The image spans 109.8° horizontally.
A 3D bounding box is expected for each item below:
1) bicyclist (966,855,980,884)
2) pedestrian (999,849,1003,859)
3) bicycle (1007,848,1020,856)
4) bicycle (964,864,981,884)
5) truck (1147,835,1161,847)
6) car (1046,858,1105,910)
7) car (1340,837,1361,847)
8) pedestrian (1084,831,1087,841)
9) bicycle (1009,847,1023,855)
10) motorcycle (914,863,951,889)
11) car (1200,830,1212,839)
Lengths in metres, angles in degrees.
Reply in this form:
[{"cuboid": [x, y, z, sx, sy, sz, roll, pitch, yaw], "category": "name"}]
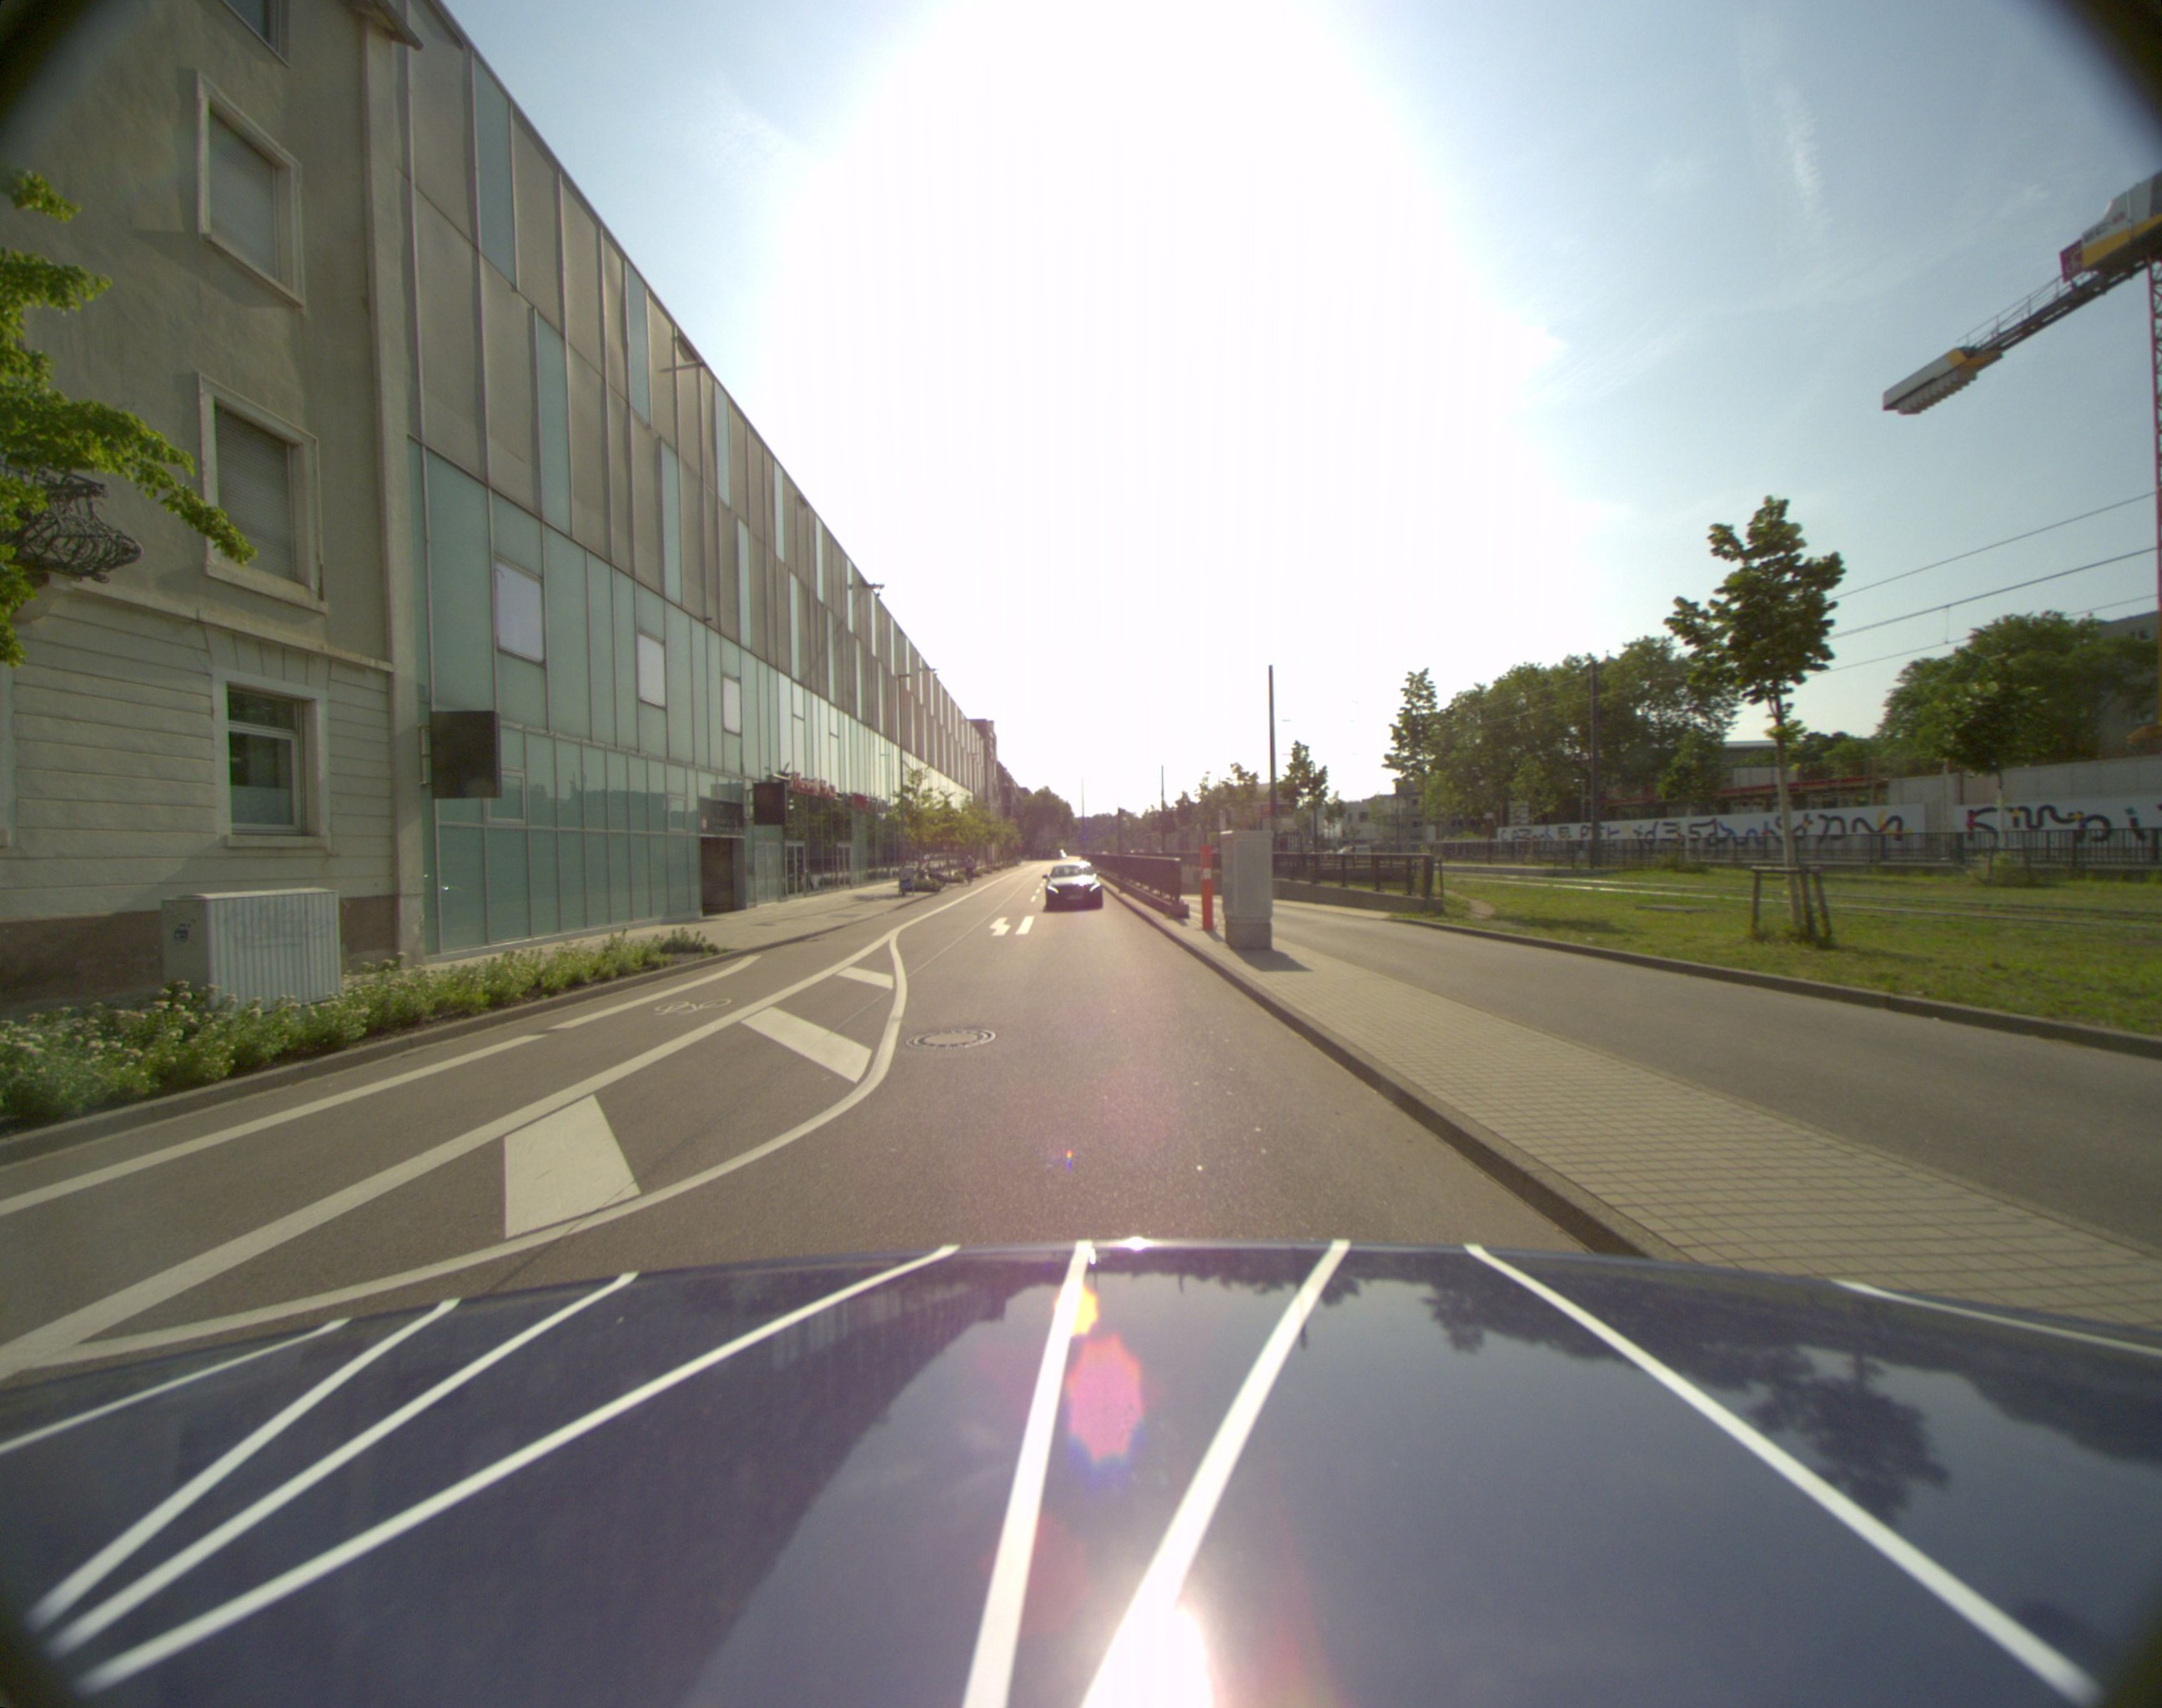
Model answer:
[{"cuboid": [-6.600, 0.918, 46.523, 0.652, 1.739, 0.769, -1, 1, 2], "category": "bicyclist"}, {"cuboid": [-13.135, 0.057, 124.479, 0.468, 1.640, 0.777, -2, 1, -1], "category": "pedestrian"}, {"cuboid": [-9.522, -0.323, 107.253, 1.883, 1.103, 0.490, -1, 1, 1], "category": "bicycle"}, {"cuboid": [-6.604, 1.206, 46.368, 0.662, 1.111, 2.051, -1, 1, 2], "category": "bicycle"}, {"cuboid": [22.352, -3.894, 233.169, 3.029, 3.566, 8.888, -1, 1, -1], "category": "truck"}, {"cuboid": [-0.085, 0.916, 25.488, 1.716, 1.429, 5.057, -2, 1, 2], "category": "car"}, {"cuboid": [34.917, -1.576, 98.539, 1.505, 1.195, 2.959, -2, 1, -1], "category": "car"}, {"cuboid": [0.695, -3.013, 125.202, 0.468, 1.640, 0.777, -2, 1, -1], "category": "pedestrian"}, {"cuboid": [-9.543, -0.467, 111.427, 1.844, 1.106, 0.687, -3, 1, 1], "category": "bicycle"}, {"cuboid": [-8.217, 1.191, 42.115, 1.976, 1.342, 0.866, -1, 2, -11], "category": "motorcycle"}, {"cuboid": [28.427, -4.505, 172.855, 1.957, 2.002, 3.999, -2, 1, 0], "category": "car"}]
